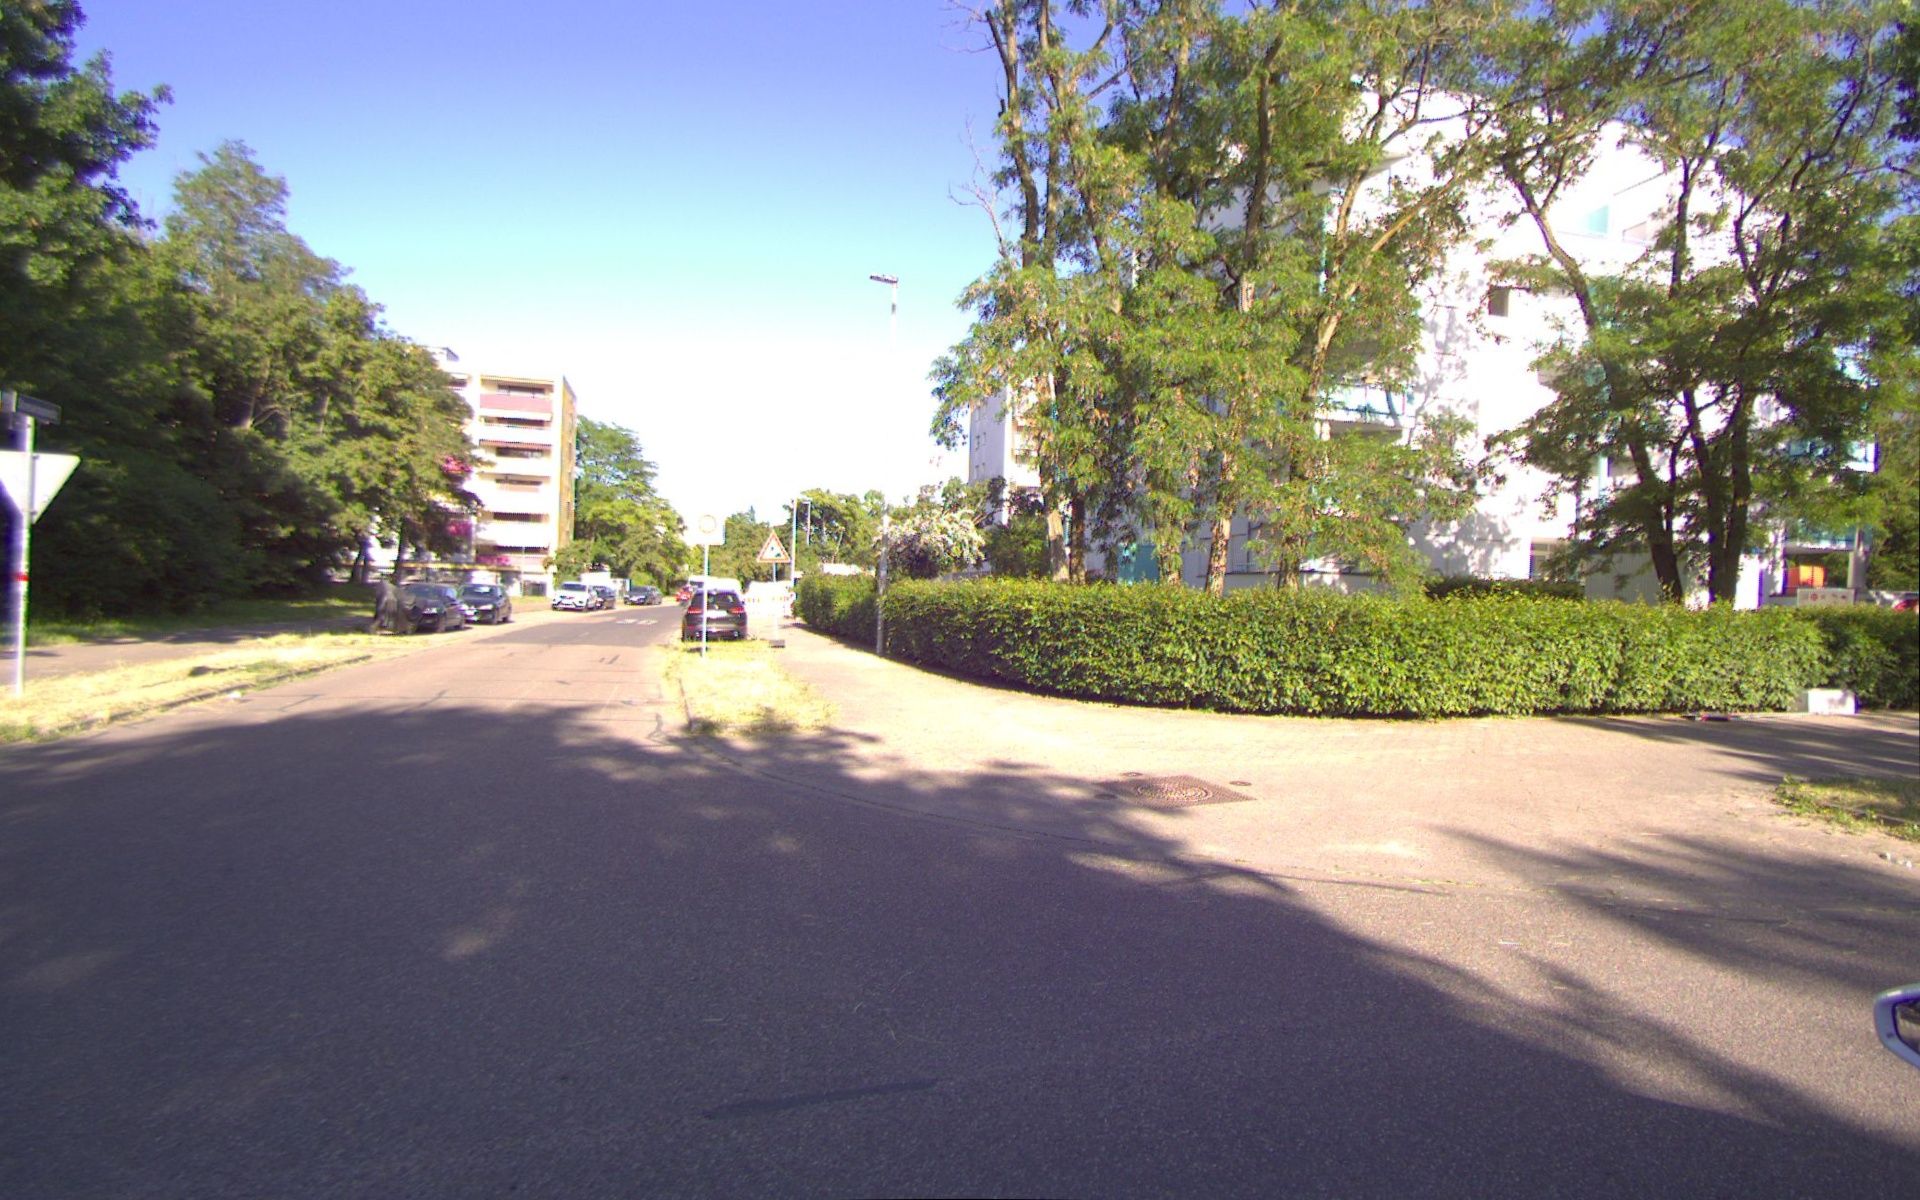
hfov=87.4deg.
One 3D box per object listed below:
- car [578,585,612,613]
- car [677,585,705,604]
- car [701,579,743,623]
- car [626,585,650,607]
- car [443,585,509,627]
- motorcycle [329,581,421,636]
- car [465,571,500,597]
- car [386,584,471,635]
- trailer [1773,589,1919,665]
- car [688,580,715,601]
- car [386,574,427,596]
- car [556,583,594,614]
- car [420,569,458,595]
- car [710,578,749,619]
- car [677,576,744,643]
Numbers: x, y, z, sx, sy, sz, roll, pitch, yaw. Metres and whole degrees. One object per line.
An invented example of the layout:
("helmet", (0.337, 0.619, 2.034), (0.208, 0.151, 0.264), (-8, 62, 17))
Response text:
("car", (-22.198, -0.065, 61.169), (1.619, 1.578, 3.822), (2, 1, -16))
("car", (-25.034, -0.526, 93.521), (1.792, 1.617, 3.996), (2, 1, -6))
("car", (-11.853, 0.026, 49.938), (1.798, 2.088, 3.822), (2, 1, -16))
("car", (-24.095, -0.335, 75.268), (1.619, 1.578, 3.822), (2, 1, -16))
("car", (-17.525, 0.188, 36.510), (1.534, 1.410, 3.576), (2, 1, -16))
("motorcycle", (-15.237, 0.219, 26.221), (0.666, 1.362, 1.950), (3, 1, 42))
("car", (-35.356, -1.185, 74.422), (1.734, 1.767, 3.822), (2, 1, -16))
("car", (-16.084, 0.261, 30.548), (1.534, 1.410, 3.576), (2, 1, -16))
("trailer", (26.414, 0.774, 29.293), (4.355, 2.070, 1.977), (2, 0, -14))
("car", (-25.364, -0.918, 98.673), (1.946, 1.925, 3.996), (2, 1, -6))
("car", (-40.174, -1.089, 72.948), (1.771, 1.547, 3.822), (2, 1, -16))
("car", (-21.275, -0.107, 55.590), (1.619, 1.578, 3.822), (2, 1, -16))
("car", (-38.295, -1.333, 73.912), (1.734, 1.767, 3.822), (2, 1, -16))
("car", (-12.646, -0.108, 54.976), (1.798, 2.088, 3.822), (2, 1, -16))
("car", (-7.426, 0.232, 29.698), (1.728, 1.808, 3.822), (2, 1, -16))
